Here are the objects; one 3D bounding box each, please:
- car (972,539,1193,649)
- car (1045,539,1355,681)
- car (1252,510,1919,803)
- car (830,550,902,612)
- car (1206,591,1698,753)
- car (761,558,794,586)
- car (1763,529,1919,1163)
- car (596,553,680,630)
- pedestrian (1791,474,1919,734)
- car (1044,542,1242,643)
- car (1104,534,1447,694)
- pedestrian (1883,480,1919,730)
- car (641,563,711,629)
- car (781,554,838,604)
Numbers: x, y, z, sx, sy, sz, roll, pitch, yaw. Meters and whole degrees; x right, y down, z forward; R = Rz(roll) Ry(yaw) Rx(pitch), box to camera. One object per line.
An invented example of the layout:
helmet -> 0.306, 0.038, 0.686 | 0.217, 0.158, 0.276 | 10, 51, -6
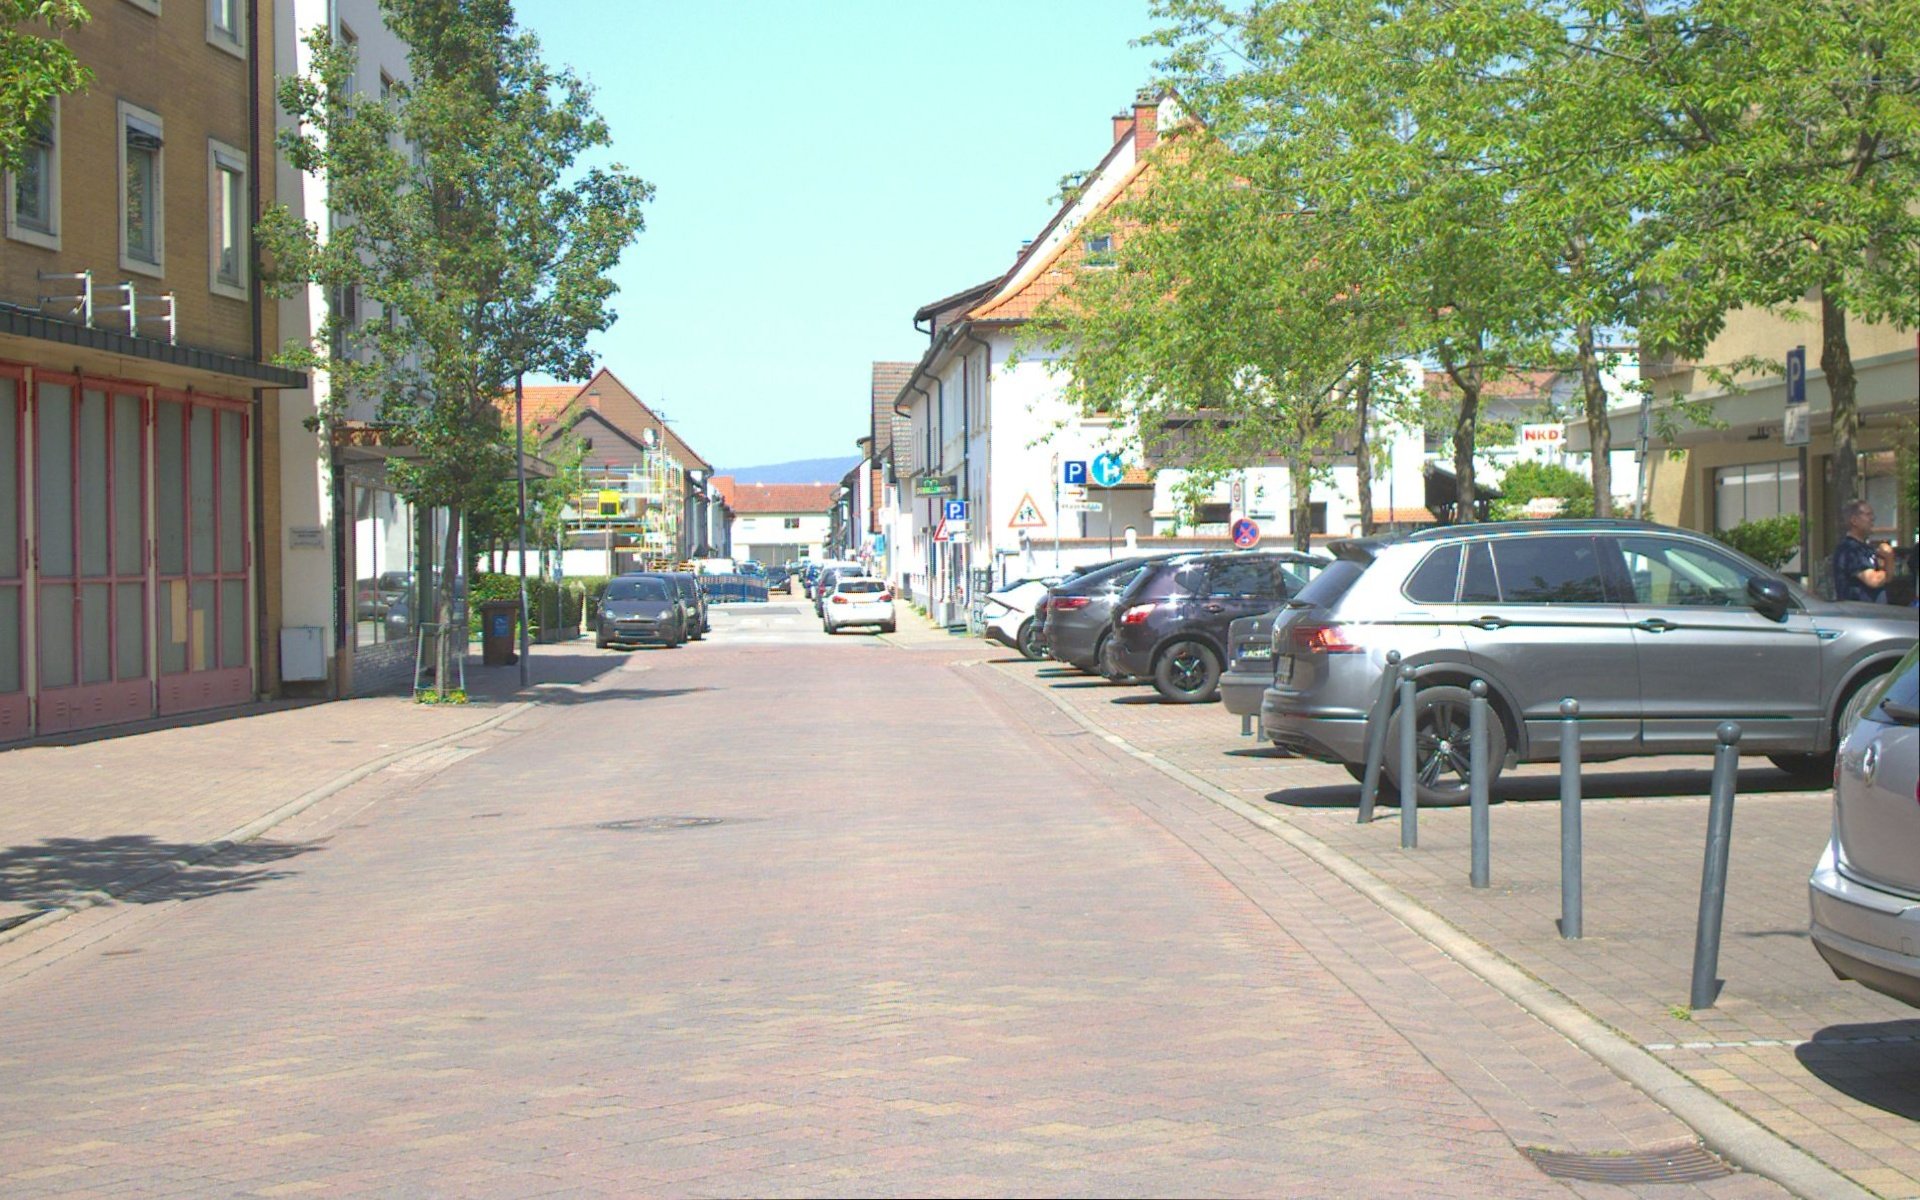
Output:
car -> 2.040, -0.107, 57.820 | 3.477, 1.695, 1.536 | -2, 0, -7
car -> 2.855, 0.112, 41.409 | 3.521, 1.619, 1.711 | -1, 0, -2
car -> 3.968, 0.300, 20.507 | 4.243, 1.610, 1.558 | -1, 1, -2
car -> -2.510, -0.516, 91.646 | 1.831, 1.527, 3.946 | -1, 2, -2
car -> 3.743, 0.536, 26.404 | 3.521, 1.138, 1.274 | -1, 0, -6
car -> -10.492, -1.610, 198.073 | 1.747, 1.476, 3.629 | -1, 2, -1
car -> 4.474, 0.574, 9.345 | 4.153, 1.568, 1.759 | -1, 2, 0
car -> -6.775, -0.198, 72.649 | 1.507, 1.495, 3.827 | -1, 2, -2
pedestrian -> 6.392, 0.012, 24.125 | 0.837, 1.781, 0.807 | -1, 2, -8
car -> 3.226, -0.132, 60.924 | 3.347, 1.709, 1.470 | -1, 0, -2
car -> 3.424, 0.147, 37.733 | 3.521, 1.649, 1.711 | -1, 0, -2
pedestrian -> 7.213, 0.022, 24.743 | 0.837, 1.781, 0.807 | -1, 2, -8
car -> -6.974, -0.119, 84.654 | 1.507, 1.495, 3.827 | -1, 2, -2
car -> -4.859, -0.690, 111.249 | 1.747, 1.476, 3.629 | -1, 2, -1
